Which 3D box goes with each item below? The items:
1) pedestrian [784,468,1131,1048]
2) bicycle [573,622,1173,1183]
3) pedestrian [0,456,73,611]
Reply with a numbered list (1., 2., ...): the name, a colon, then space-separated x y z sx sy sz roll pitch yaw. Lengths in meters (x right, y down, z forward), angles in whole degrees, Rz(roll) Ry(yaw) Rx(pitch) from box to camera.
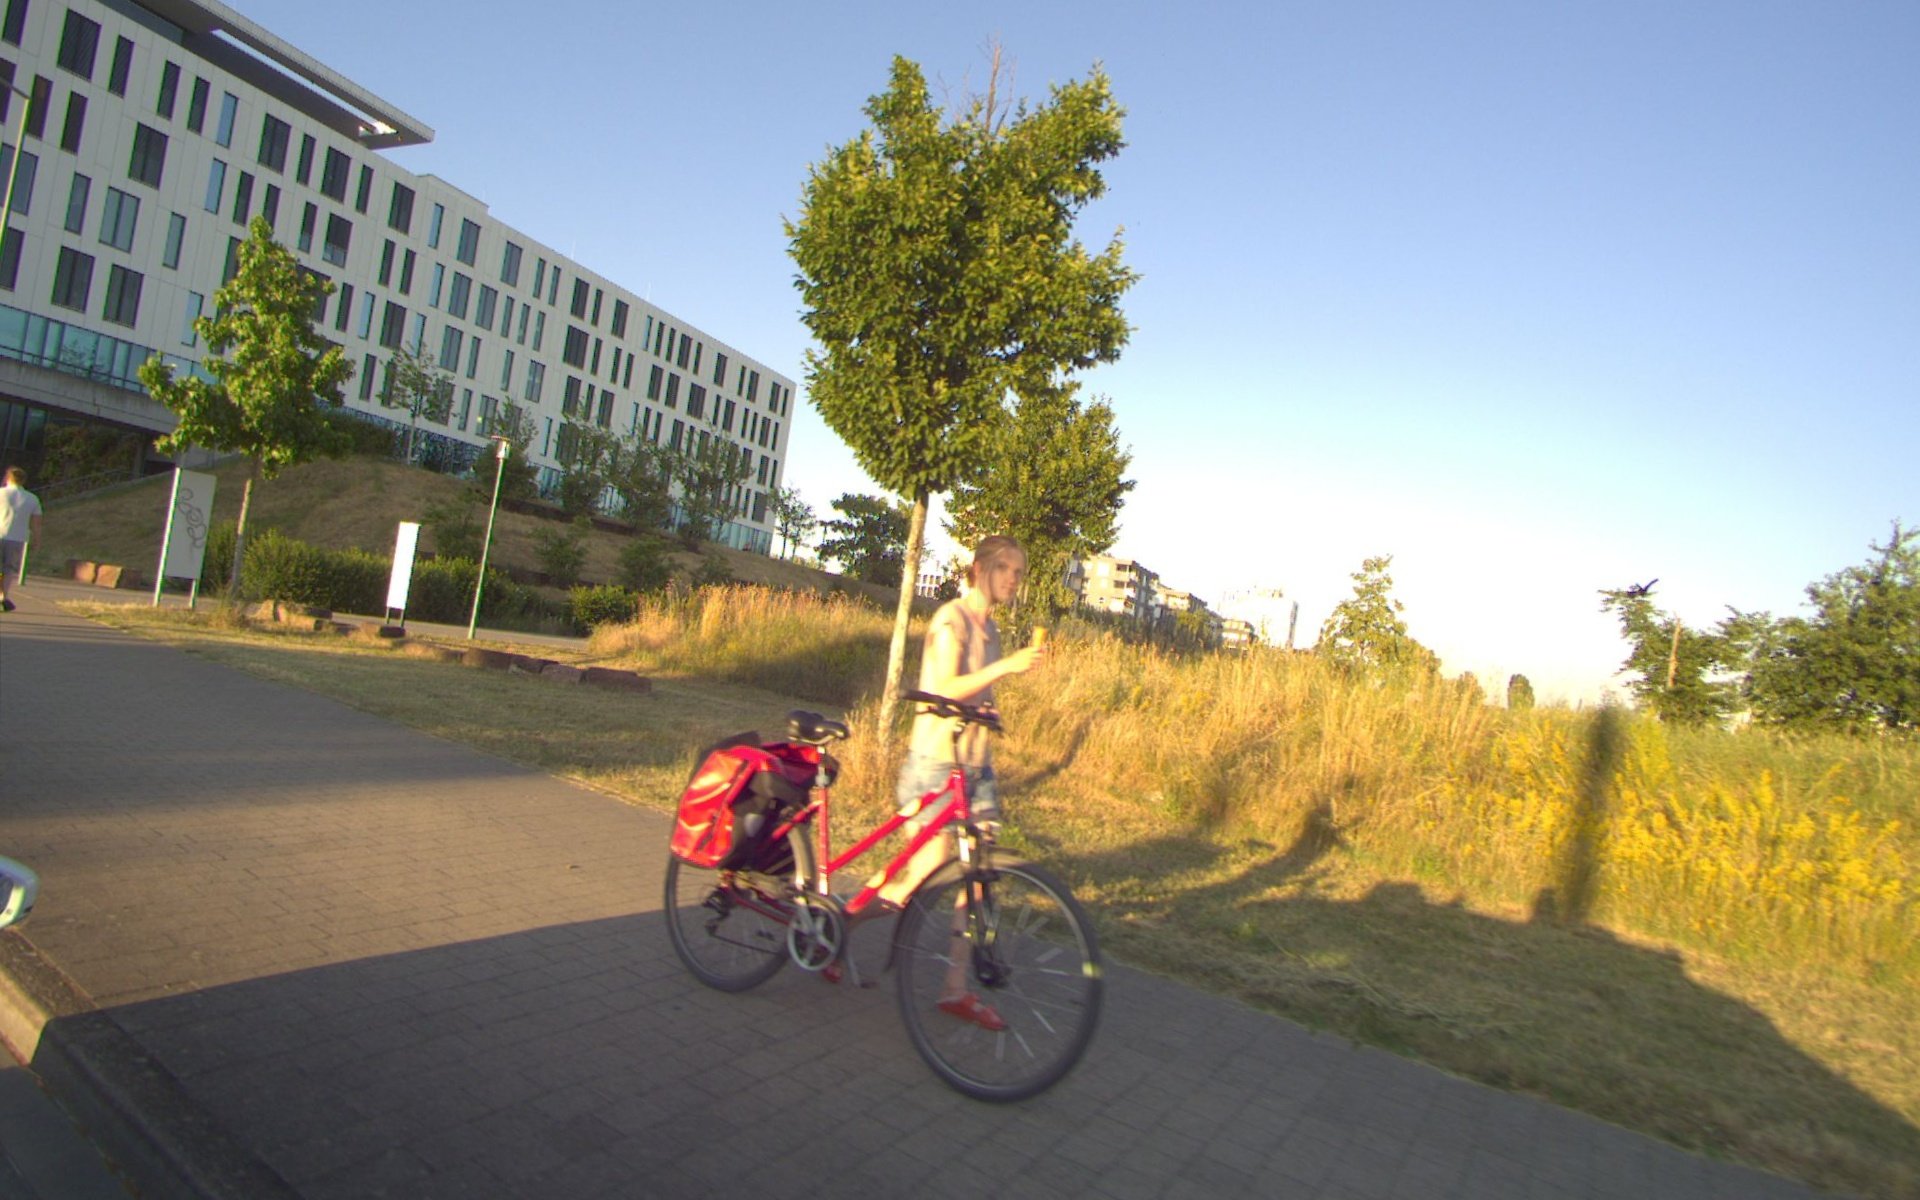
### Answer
1. pedestrian: -0.003 0.503 3.656 0.805 1.822 0.595 8 -2 34
2. bicycle: -0.378 0.801 3.255 1.909 1.181 0.451 8 -2 33
3. pedestrian: -11.825 -0.836 12.494 0.805 1.785 0.833 5 -3 34
